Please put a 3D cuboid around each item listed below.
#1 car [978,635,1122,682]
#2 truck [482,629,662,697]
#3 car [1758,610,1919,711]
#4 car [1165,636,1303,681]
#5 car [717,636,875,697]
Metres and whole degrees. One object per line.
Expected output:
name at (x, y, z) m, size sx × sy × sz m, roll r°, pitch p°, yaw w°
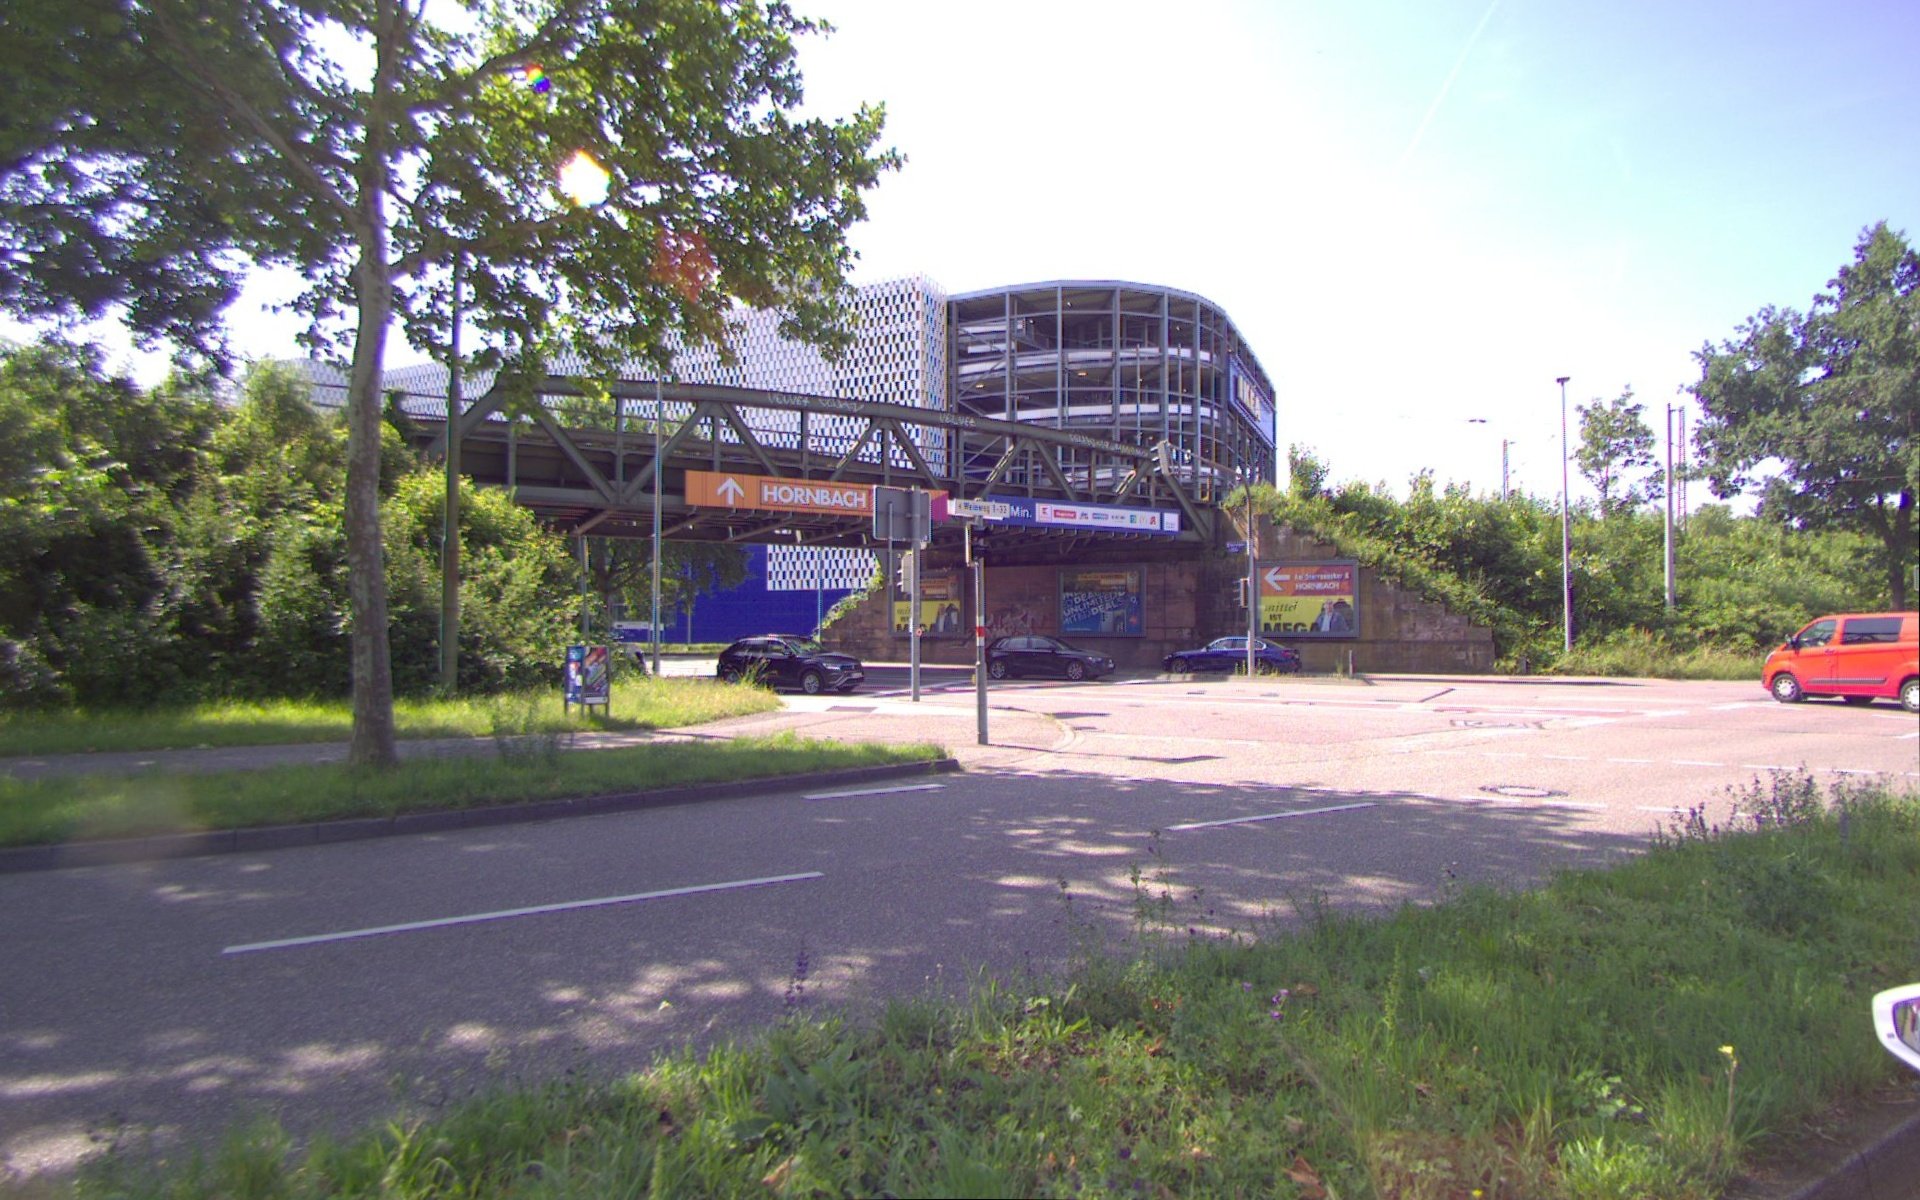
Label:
car at (2.859, 1.821, 32.011) m, size 4.253 × 1.413 × 1.770 m, roll -1°, pitch -2°, yaw 25°
truck at (-11.774, 1.840, 30.435) m, size 5.225 × 1.844 × 2.030 m, roll -1°, pitch 0°, yaw 25°
car at (19.451, 1.233, 20.877) m, size 1.936 × 1.950 × 4.559 m, roll 0°, pitch -2°, yaw -3°
car at (9.321, 1.963, 34.266) m, size 4.249 × 1.415 × 1.789 m, roll -1°, pitch -2°, yaw 31°
car at (-4.413, 1.739, 27.010) m, size 3.869 × 1.500 × 1.822 m, roll -1°, pitch -2°, yaw 25°
